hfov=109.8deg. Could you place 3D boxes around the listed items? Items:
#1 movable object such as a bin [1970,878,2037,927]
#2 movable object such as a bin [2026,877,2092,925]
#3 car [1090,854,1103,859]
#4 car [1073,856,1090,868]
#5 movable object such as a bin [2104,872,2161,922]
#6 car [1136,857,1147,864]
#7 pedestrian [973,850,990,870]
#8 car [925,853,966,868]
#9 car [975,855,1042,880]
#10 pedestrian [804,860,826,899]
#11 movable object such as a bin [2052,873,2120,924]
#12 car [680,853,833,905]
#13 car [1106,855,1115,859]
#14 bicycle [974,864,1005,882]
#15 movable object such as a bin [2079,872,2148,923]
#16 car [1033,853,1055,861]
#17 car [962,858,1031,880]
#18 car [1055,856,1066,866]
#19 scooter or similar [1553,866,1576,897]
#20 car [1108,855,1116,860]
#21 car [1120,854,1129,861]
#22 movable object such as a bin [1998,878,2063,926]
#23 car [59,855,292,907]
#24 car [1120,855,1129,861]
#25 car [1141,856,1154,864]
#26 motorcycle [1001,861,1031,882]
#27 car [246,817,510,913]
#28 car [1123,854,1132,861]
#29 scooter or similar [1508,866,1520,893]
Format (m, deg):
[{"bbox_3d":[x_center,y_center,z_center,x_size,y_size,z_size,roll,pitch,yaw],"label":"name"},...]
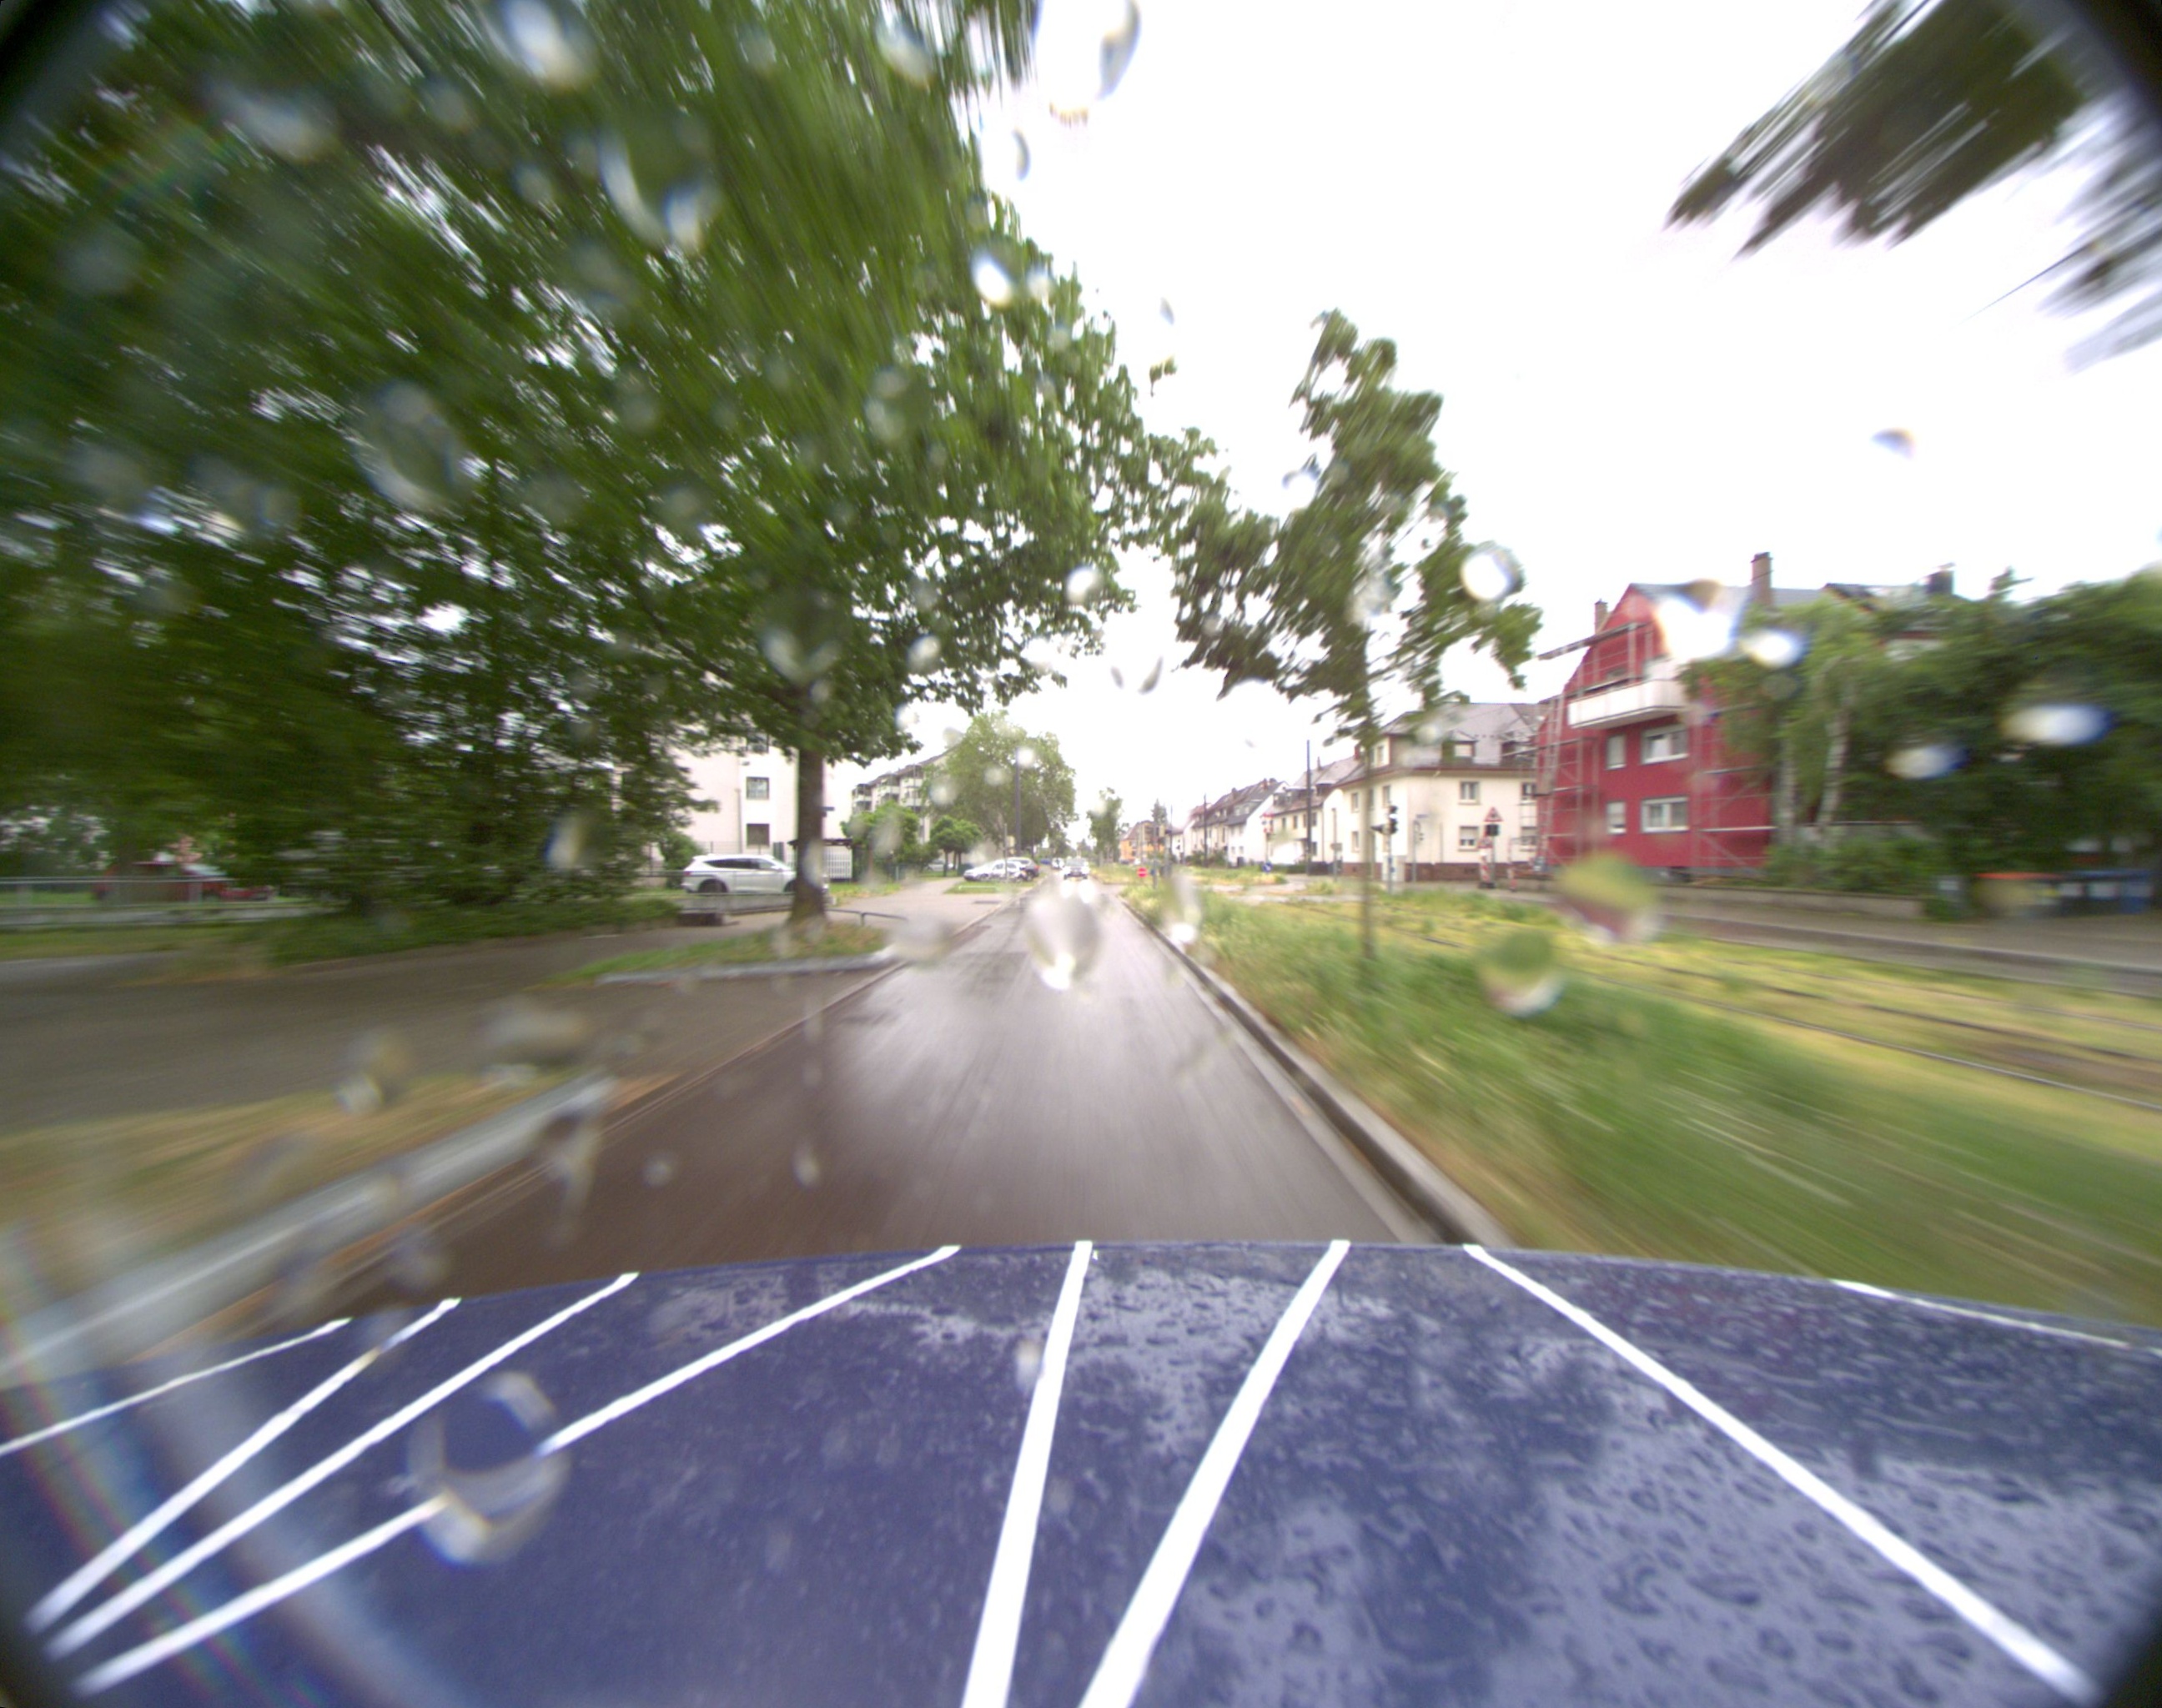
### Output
[{"bbox_3d":[21.480,1.122,17.705,0.645,1.085,0.757,0,0,0],"label":"movable object such as a bin"},{"bbox_3d":[22.760,1.078,17.695,0.561,1.075,0.758,0,0,1],"label":"movable object such as a bin"},{"bbox_3d":[4.885,0.873,247.062,3.999,1.637,1.893,1,0,-5],"label":"car"},{"bbox_3d":[0.052,1.023,96.047,1.854,1.500,4.119,1,0,-3],"label":"car"},{"bbox_3d":[24.662,0.988,17.730,0.561,1.132,0.758,0,0,1],"label":"movable object such as a bin"},{"bbox_3d":[12.246,1.244,154.925,1.715,1.432,3.999,1,0,-3],"label":"car"},{"bbox_3d":[-9.092,0.580,69.355,1.101,1.803,1.434,0,0,9],"label":"pedestrian"},{"bbox_3d":[-15.673,0.726,88.046,4.303,1.671,1.871,0,1,1],"label":"car"},{"bbox_3d":[-5.079,0.927,53.447,4.358,1.641,1.853,0,0,-33],"label":"car"},{"bbox_3d":[-11.042,1.042,31.555,0.841,1.561,0.813,0,1,-19],"label":"pedestrian"},{"bbox_3d":[23.424,1.022,17.721,0.561,1.132,0.758,0,0,1],"label":"movable object such as a bin"},{"bbox_3d":[-11.542,0.848,27.419,4.821,1.735,1.997,0,0,-15],"label":"car"},{"bbox_3d":[8.861,0.897,229.101,2.097,1.423,4.076,0,0,-4],"label":"car"},{"bbox_3d":[-5.588,1.151,46.516,0.627,1.095,1.961,1,0,44],"label":"bicycle"},{"bbox_3d":[24.077,0.999,17.731,0.561,1.132,0.758,0,0,1],"label":"movable object such as a bin"},{"bbox_3d":[-7.408,0.560,151.507,4.007,1.518,1.715,0,0,-35],"label":"car"},{"bbox_3d":[-5.514,0.971,49.814,4.133,1.414,1.734,1,0,-36],"label":"car"},{"bbox_3d":[-3.012,1.012,110.500,1.562,1.510,3.999,1,0,-3],"label":"car"},{"bbox_3d":[19.161,1.067,30.140,0.394,1.173,1.284,0,0,15],"label":"scooter or similar"},{"bbox_3d":[9.093,1.107,220.380,1.886,1.423,4.076,0,0,-4],"label":"car"},{"bbox_3d":[11.153,0.917,196.201,1.999,1.648,3.999,-1,0,0],"label":"car"},{"bbox_3d":[22.114,1.099,17.706,0.561,1.075,0.758,0,0,1],"label":"movable object such as a bin"},{"bbox_3d":[-28.018,0.799,23.691,4.419,1.517,1.905,0,0,-12],"label":"car"},{"bbox_3d":[10.802,0.919,187.277,1.882,1.520,3.999,0,0,-2],"label":"car"},{"bbox_3d":[12.583,1.169,143.750,1.892,1.522,4.755,1,0,-3],"label":"car"},{"bbox_3d":[-4.086,1.100,47.830,1.783,1.328,0.687,1,0,-36],"label":"motorcycle"},{"bbox_3d":[-22.948,0.329,25.148,6.079,2.946,2.127,0,0,-15],"label":"car"},{"bbox_3d":[11.203,0.914,182.609,1.912,1.581,3.999,0,0,-2],"label":"car"},{"bbox_3d":[18.797,1.112,32.988,0.440,1.123,1.285,0,1,30],"label":"scooter or similar"}]
